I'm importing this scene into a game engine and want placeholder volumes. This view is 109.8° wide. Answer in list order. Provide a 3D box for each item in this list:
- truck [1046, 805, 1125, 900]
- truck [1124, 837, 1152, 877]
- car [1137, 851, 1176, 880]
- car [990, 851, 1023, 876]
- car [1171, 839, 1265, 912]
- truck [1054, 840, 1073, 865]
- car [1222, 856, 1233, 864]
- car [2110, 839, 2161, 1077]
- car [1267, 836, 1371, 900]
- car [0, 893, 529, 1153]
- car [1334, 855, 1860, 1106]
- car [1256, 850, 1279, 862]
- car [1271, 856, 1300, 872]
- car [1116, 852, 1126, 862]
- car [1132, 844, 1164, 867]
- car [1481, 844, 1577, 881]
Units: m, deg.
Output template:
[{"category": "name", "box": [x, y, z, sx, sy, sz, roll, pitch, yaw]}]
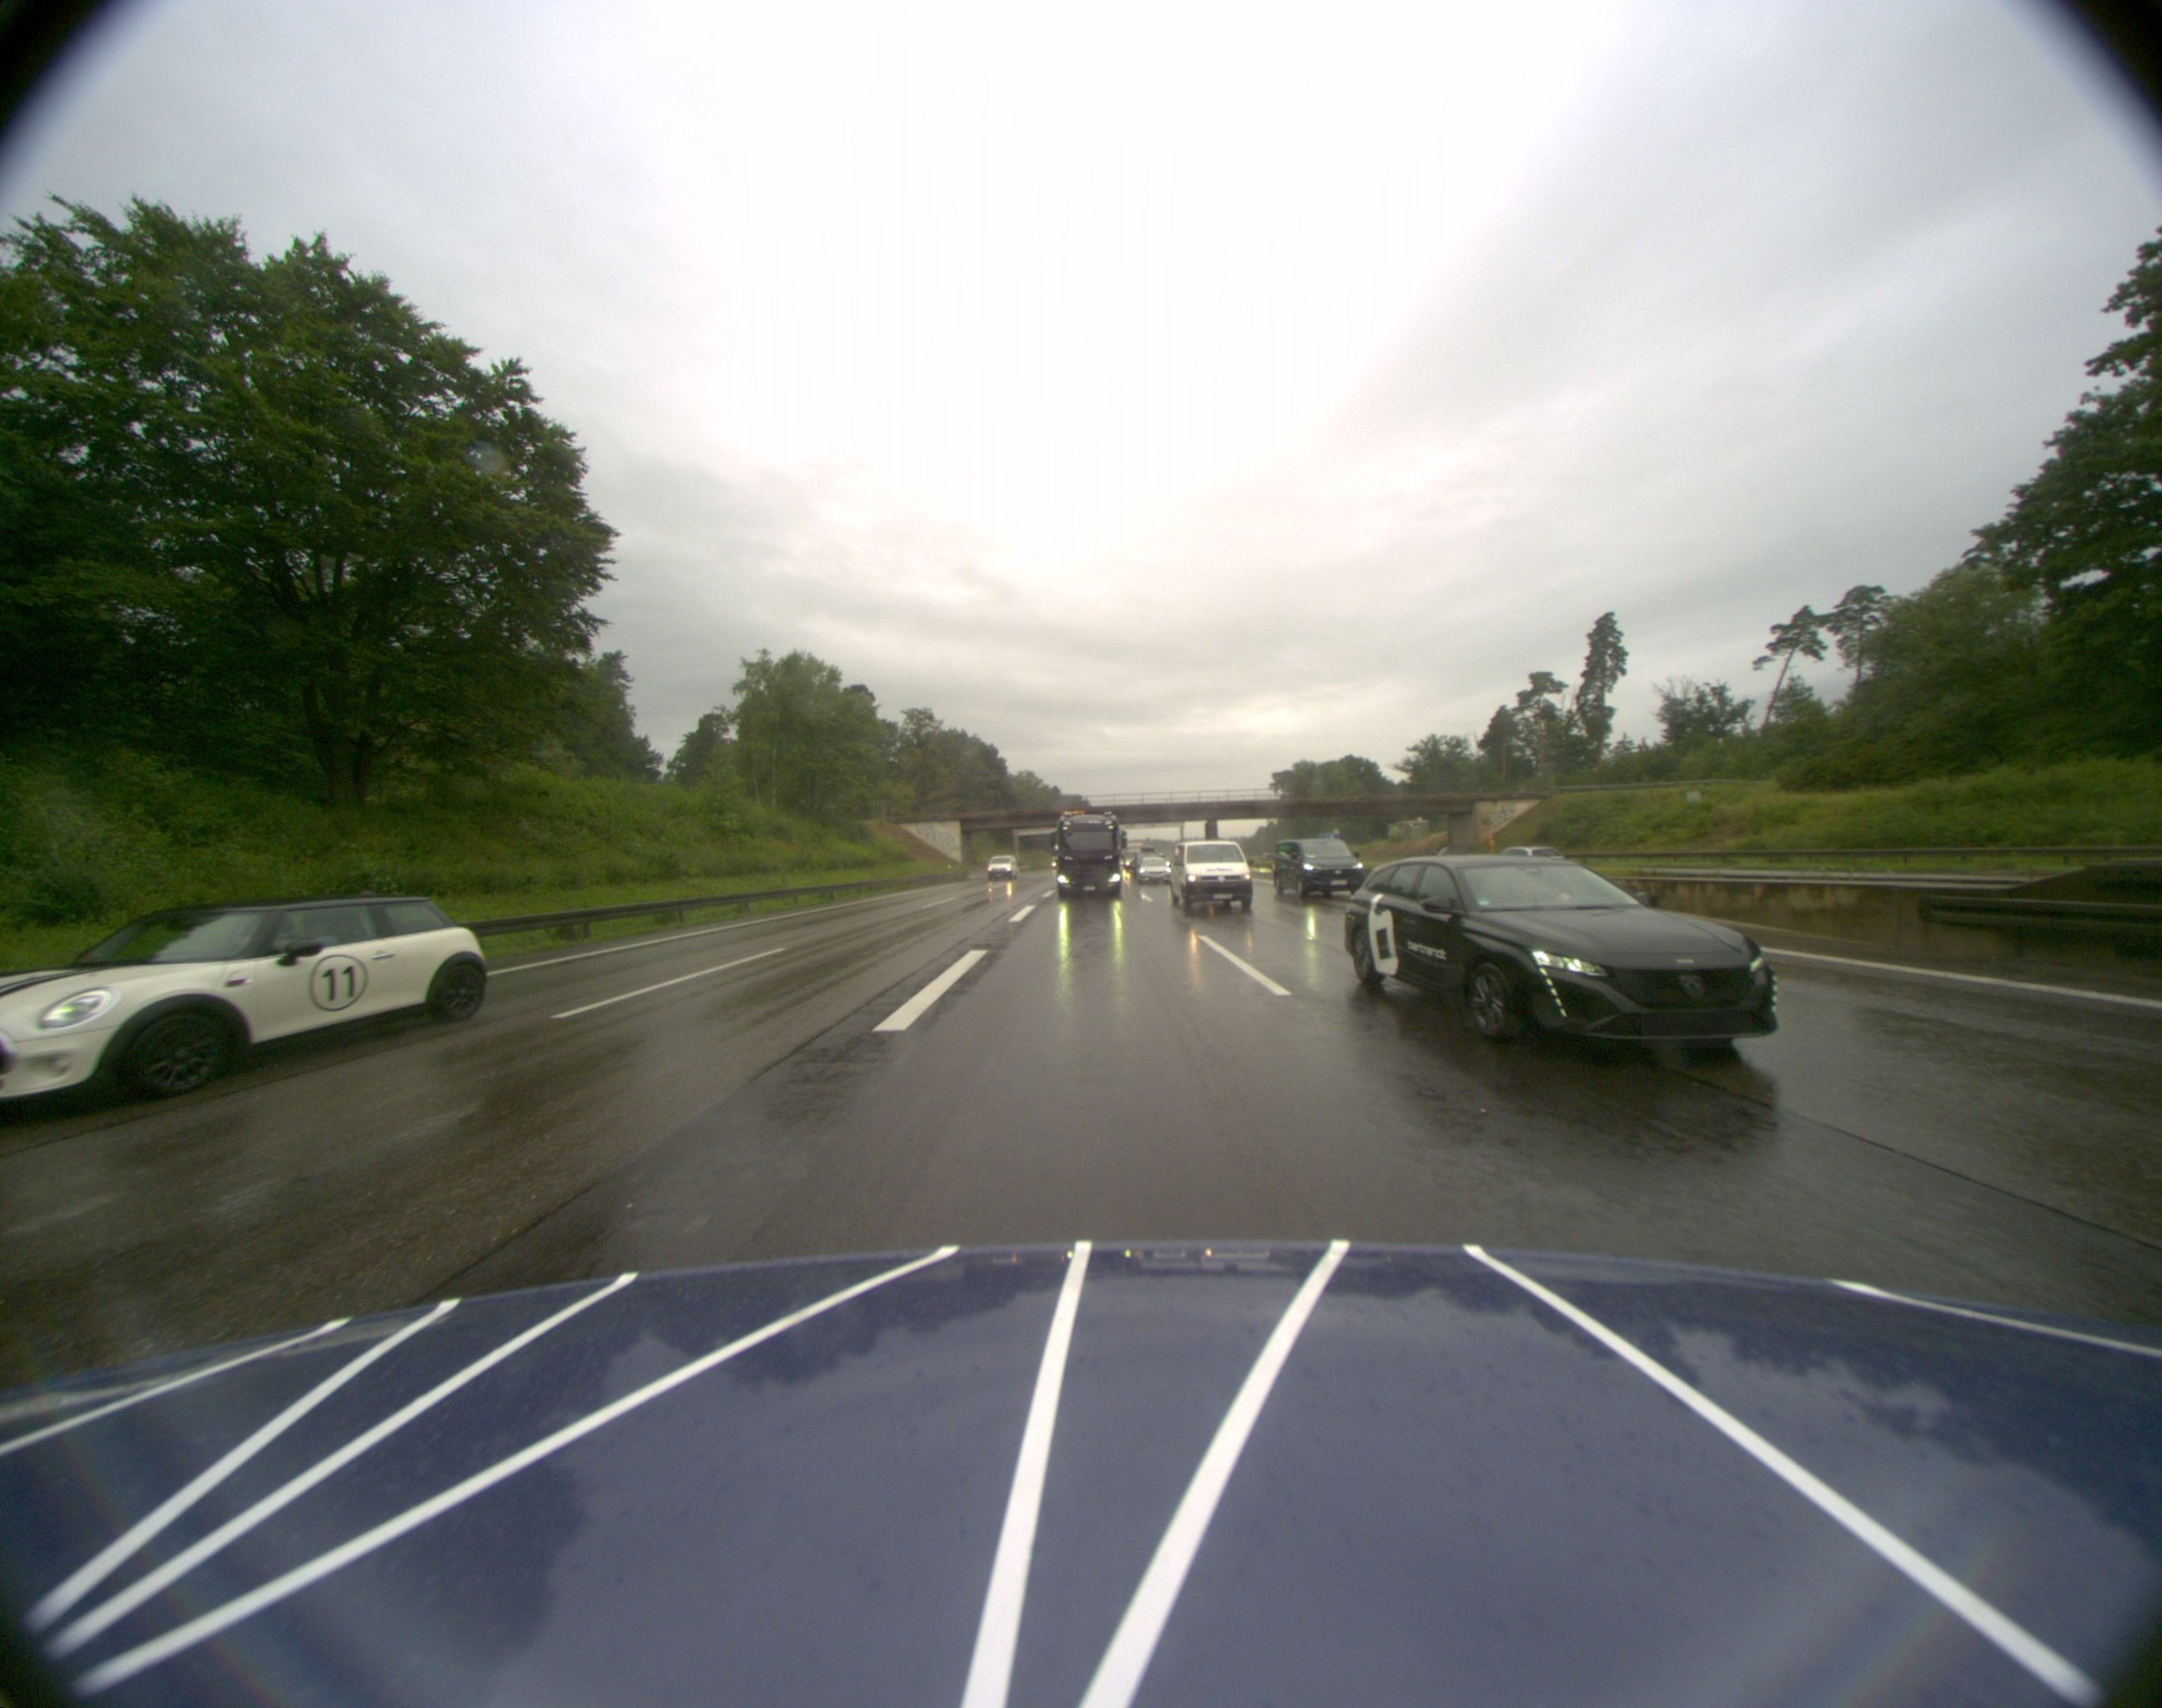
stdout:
[{"category": "truck", "box": [0.394, -0.123, 34.193, 2.879, 3.528, 10.911, -2, 1, 2]}, {"category": "truck", "box": [5.965, 0.304, 80.944, 2.521, 3.941, 6.995, -2, 0, 2]}, {"category": "car", "box": [4.234, 0.633, 43.169, 1.850, 1.496, 4.466, -2, 0, 2]}, {"category": "car", "box": [-6.065, 0.732, 62.147, 1.994, 1.909, 4.767, -2, 0, 2]}, {"category": "car", "box": [3.898, 0.563, 22.477, 1.994, 1.869, 4.767, -2, 0, 2]}, {"category": "truck", "box": [-2.831, -0.249, 126.653, 2.608, 3.991, 6.012, -3, 1, 2]}, {"category": "car", "box": [31.819, 1.286, 164.958, 1.850, 1.582, 3.945, -2, 0, 2]}, {"category": "car", "box": [8.078, 0.664, 3.049, 1.850, 1.582, 4.466, -2, 0, 1]}, {"category": "car", "box": [8.104, 0.410, 26.414, 1.996, 1.933, 5.242, -2, 1, 1]}, {"category": "car", "box": [-7.491, 1.192, 6.866, 1.795, 1.399, 4.228, -2, 0, 1]}, {"category": "car", "box": [3.943, 0.792, 6.955, 1.850, 1.495, 4.467, -2, 0, 2]}, {"category": "car", "box": [22.025, 0.228, 89.860, 1.720, 1.382, 3.952, -2, 0, 0]}, {"category": "car", "box": [21.998, 1.032, 81.724, 1.934, 1.582, 4.467, -4, 0, 2]}, {"category": "car", "box": [8.463, 0.717, 160.786, 1.998, 2.002, 4.000, -2, 0, 0]}, {"category": "car", "box": [4.826, 0.092, 55.230, 1.995, 1.551, 4.767, -2, 0, 1]}, {"category": "car", "box": [20.088, 0.368, 34.304, 1.840, 1.489, 4.610, -2, 0, 4]}]
